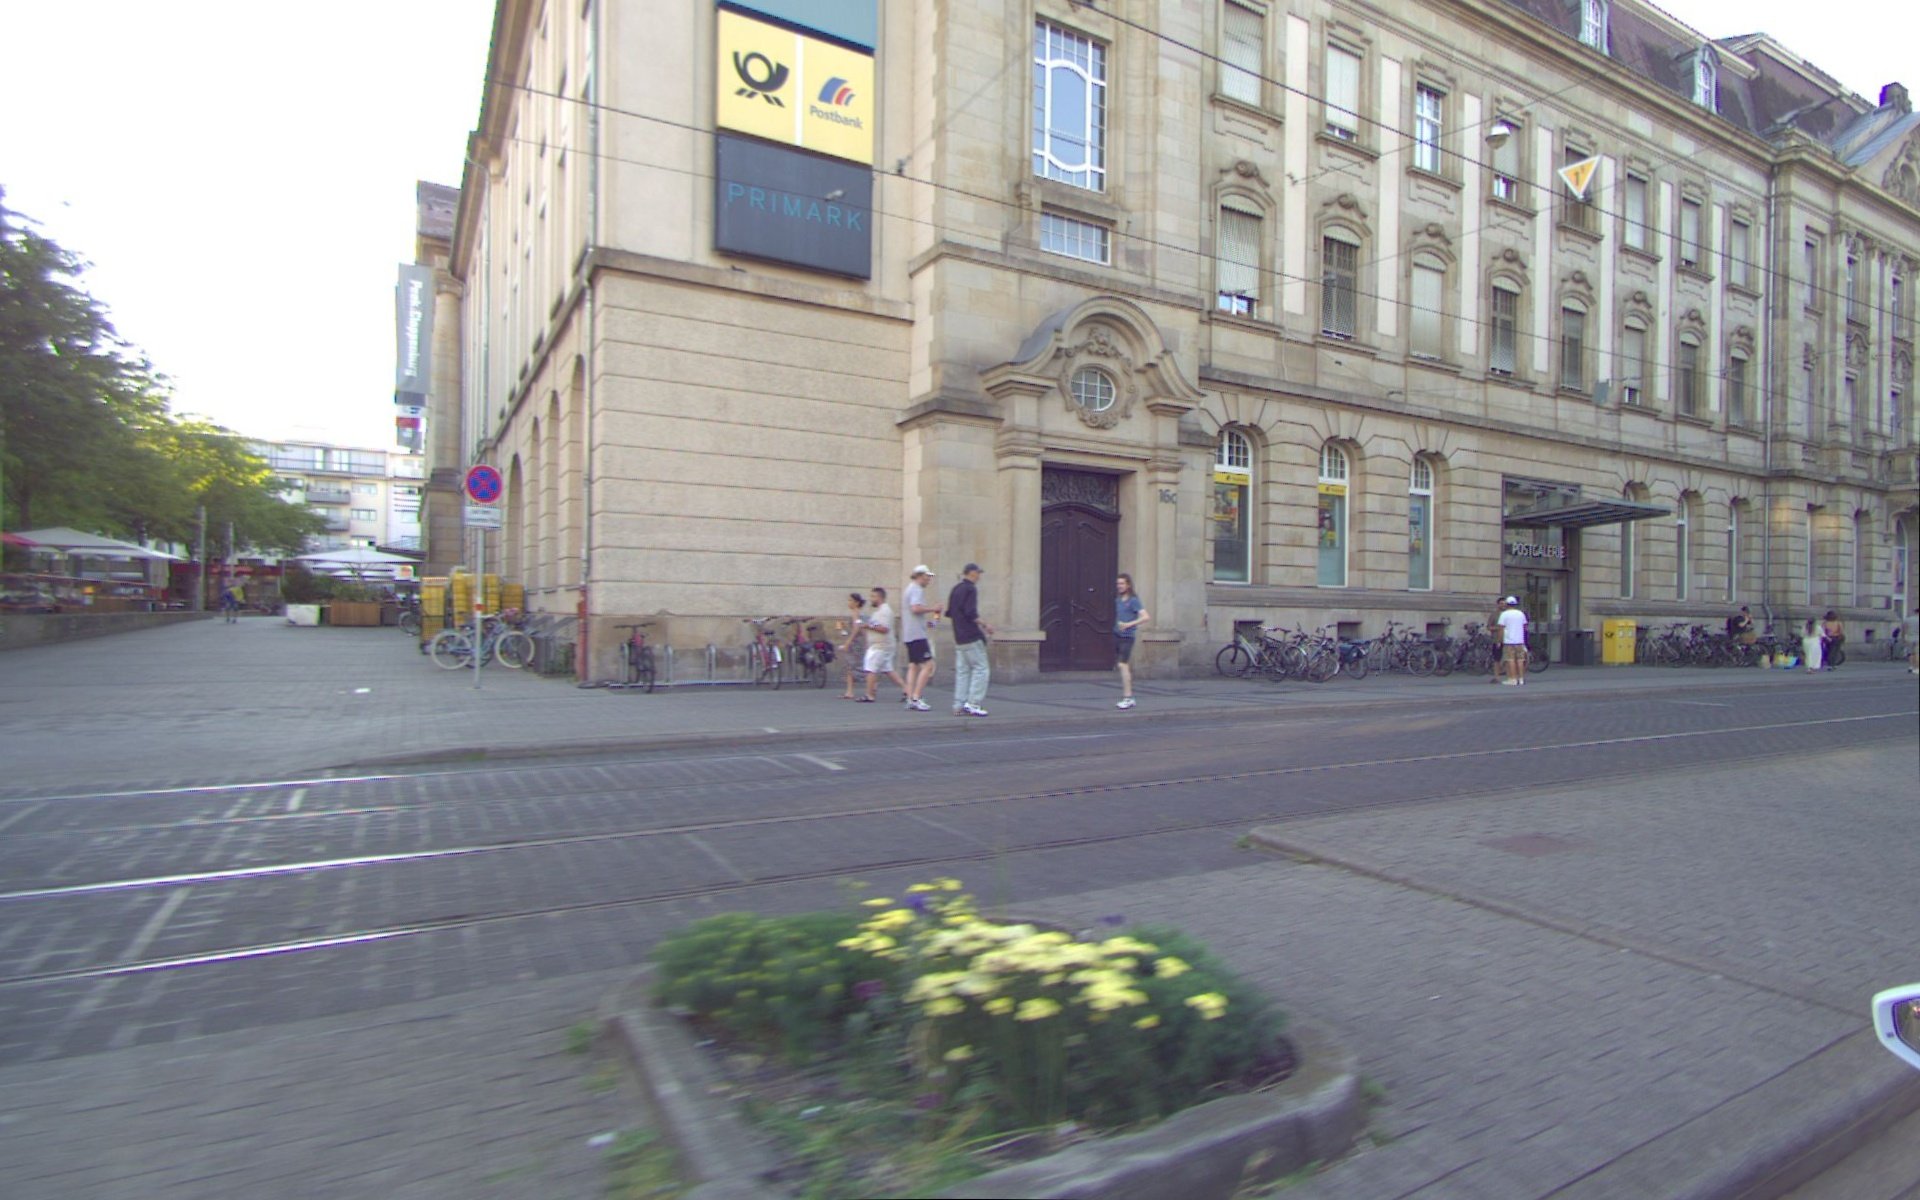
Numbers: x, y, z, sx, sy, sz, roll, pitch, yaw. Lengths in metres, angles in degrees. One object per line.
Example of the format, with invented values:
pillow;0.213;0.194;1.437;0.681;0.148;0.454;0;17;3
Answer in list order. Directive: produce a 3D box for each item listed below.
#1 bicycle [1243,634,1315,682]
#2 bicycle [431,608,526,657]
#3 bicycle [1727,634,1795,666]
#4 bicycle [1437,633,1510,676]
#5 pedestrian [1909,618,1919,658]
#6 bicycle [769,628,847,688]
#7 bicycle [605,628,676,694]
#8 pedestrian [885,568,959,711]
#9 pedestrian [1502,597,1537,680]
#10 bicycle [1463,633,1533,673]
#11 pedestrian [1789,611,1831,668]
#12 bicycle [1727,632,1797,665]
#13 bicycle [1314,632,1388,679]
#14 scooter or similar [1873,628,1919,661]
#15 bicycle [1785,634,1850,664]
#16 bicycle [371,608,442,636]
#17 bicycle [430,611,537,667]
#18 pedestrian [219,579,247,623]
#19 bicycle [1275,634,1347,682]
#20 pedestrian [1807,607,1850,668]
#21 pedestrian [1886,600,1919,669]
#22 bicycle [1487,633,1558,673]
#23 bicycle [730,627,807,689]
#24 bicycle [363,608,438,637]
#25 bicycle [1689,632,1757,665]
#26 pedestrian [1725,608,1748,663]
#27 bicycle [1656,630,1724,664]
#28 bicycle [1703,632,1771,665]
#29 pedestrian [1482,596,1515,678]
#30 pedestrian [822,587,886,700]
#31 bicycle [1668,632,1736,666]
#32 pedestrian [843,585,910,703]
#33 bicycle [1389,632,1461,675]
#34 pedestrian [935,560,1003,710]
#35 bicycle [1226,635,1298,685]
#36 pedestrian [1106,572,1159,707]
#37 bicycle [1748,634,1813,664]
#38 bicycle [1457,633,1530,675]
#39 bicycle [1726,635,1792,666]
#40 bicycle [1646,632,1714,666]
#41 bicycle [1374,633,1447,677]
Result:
bicycle;6.527;1.169;20.617;0.445;0.885;1.571;2;0;-24
bicycle;-10.468;0.703;21.849;1.820;1.025;0.480;1;1;-32
bicycle;24.505;1.532;30.745;0.445;0.885;1.571;2;0;-24
bicycle;11.966;1.255;23.442;0.445;0.885;1.571;2;0;-24
pedestrian;36.137;1.432;37.716;0.560;1.459;0.441;2;0;7
bicycle;-2.587;0.950;16.926;0.628;0.880;1.825;2;0;-31
bicycle;-4.968;0.915;15.557;0.628;0.880;1.825;2;0;-31
pedestrian;-0.483;0.493;12.836;0.670;1.759;0.674;-1;-2;39
pedestrian;11.393;0.778;20.471;0.483;1.653;0.376;2;0;11
bicycle;13.311;1.295;24.900;0.445;0.885;1.571;2;0;-24
pedestrian;22.518;1.038;26.607;0.549;1.486;0.689;1;0;-30
bicycle;24.023;1.446;30.112;0.445;0.885;1.571;2;0;-24
bicycle;8.254;1.168;21.270;0.445;0.885;1.571;2;0;-24
scooter or similar;33.429;1.575;35.585;0.445;1.082;1.542;2;0;-24
bicycle;28.371;1.624;33.243;0.445;0.885;1.571;2;0;-24
bicycle;-19.340;0.777;35.129;2.167;0.955;0.534;1;0;-30
bicycle;-9.220;0.745;19.462;1.820;1.025;0.480;1;1;-32
pedestrian;-29.147;0.021;40.273;0.791;1.724;0.793;1;1;-31
bicycle;7.325;1.194;21.052;0.445;0.885;1.571;2;0;-24
pedestrian;25.092;1.072;29.026;0.806;1.735;0.689;1;0;-30
pedestrian;25.973;0.938;27.497;0.805;1.837;0.689;1;0;-30
bicycle;14.023;1.318;25.078;0.445;0.885;1.571;2;0;-24
bicycle;-3.171;0.932;16.504;0.628;0.880;1.825;2;0;-31
bicycle;-18.588;0.751;33.422;2.167;0.955;0.534;1;0;-30
bicycle;22.612;1.437;29.810;0.445;0.885;1.571;2;0;-24
pedestrian;23.607;1.074;30.543;0.423;1.655;0.363;2;1;-24
bicycle;21.117;1.342;29.085;0.445;0.885;1.571;2;0;-24
bicycle;23.207;1.429;30.033;0.445;0.885;1.571;2;0;-24
pedestrian;11.276;0.773;21.035;0.488;1.695;0.373;1;1;-31
pedestrian;-1.540;0.614;14.562;0.672;1.582;0.655;1;0;-33
bicycle;21.644;1.414;29.322;0.445;0.885;1.571;2;0;-24
pedestrian;-1.164;0.597;13.953;0.672;1.582;0.655;1;0;-33
bicycle;10.656;1.210;23.048;0.445;0.885;1.571;2;0;-24
pedestrian;0.109;0.416;12.190;0.637;1.759;0.595;-1;-1;24
bicycle;6.082;1.193;20.321;0.445;0.885;1.571;2;0;-24
pedestrian;2.308;0.521;13.408;0.667;1.759;0.483;0;-1;13
bicycle;26.610;1.577;32.607;0.445;0.885;1.571;2;0;-24
bicycle;12.753;1.279;24.049;0.445;0.885;1.571;2;0;-24
bicycle;25.243;1.601;31.760;0.445;0.885;1.571;2;0;-24
bicycle;20.578;1.400;28.736;0.445;0.885;1.571;2;0;-24
bicycle;10.074;1.224;22.504;0.445;0.885;1.571;2;0;-24
